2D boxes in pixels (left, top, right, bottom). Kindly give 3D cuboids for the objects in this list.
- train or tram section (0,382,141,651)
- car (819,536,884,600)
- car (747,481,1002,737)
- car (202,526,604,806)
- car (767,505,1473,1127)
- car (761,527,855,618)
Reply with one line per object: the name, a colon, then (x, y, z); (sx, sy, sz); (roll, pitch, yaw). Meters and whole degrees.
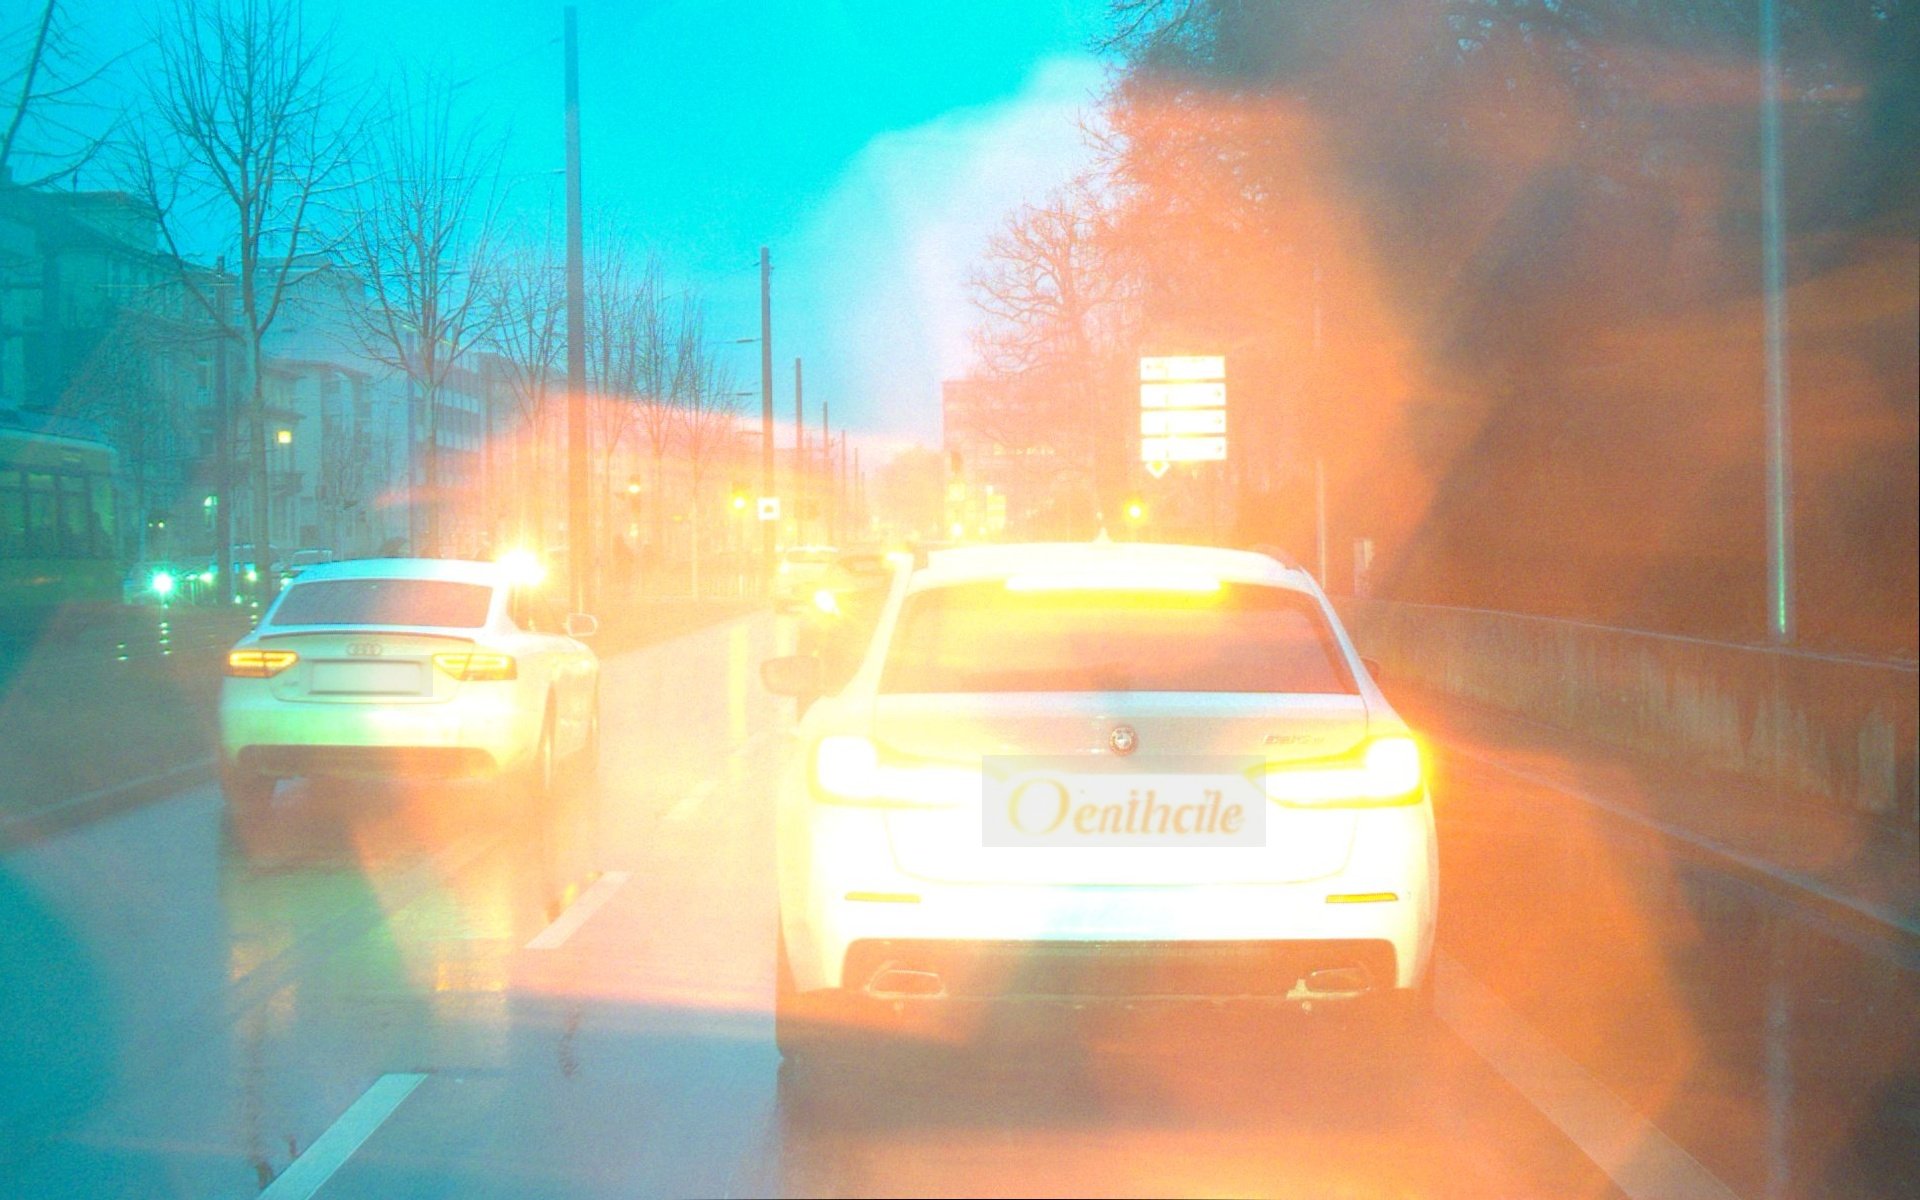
train or tram section: (-13.920, -1.096, 47.869); (2.842, 3.492, 9.158); (-2, 1, -1)
car: (-3.502, -1.055, 111.496); (1.993, 2.007, 4.000); (1, 1, -1)
car: (-0.699, 0.045, 29.189); (1.993, 2.007, 4.000); (1, 1, -1)
car: (-3.162, 0.322, 20.297); (1.759, 1.464, 4.252); (1, 1, -1)
car: (0.287, 0.518, 10.743); (1.759, 1.547, 4.252); (1, 1, -3)
car: (-3.448, -0.631, 78.605); (1.993, 2.007, 4.000); (1, 1, -1)
